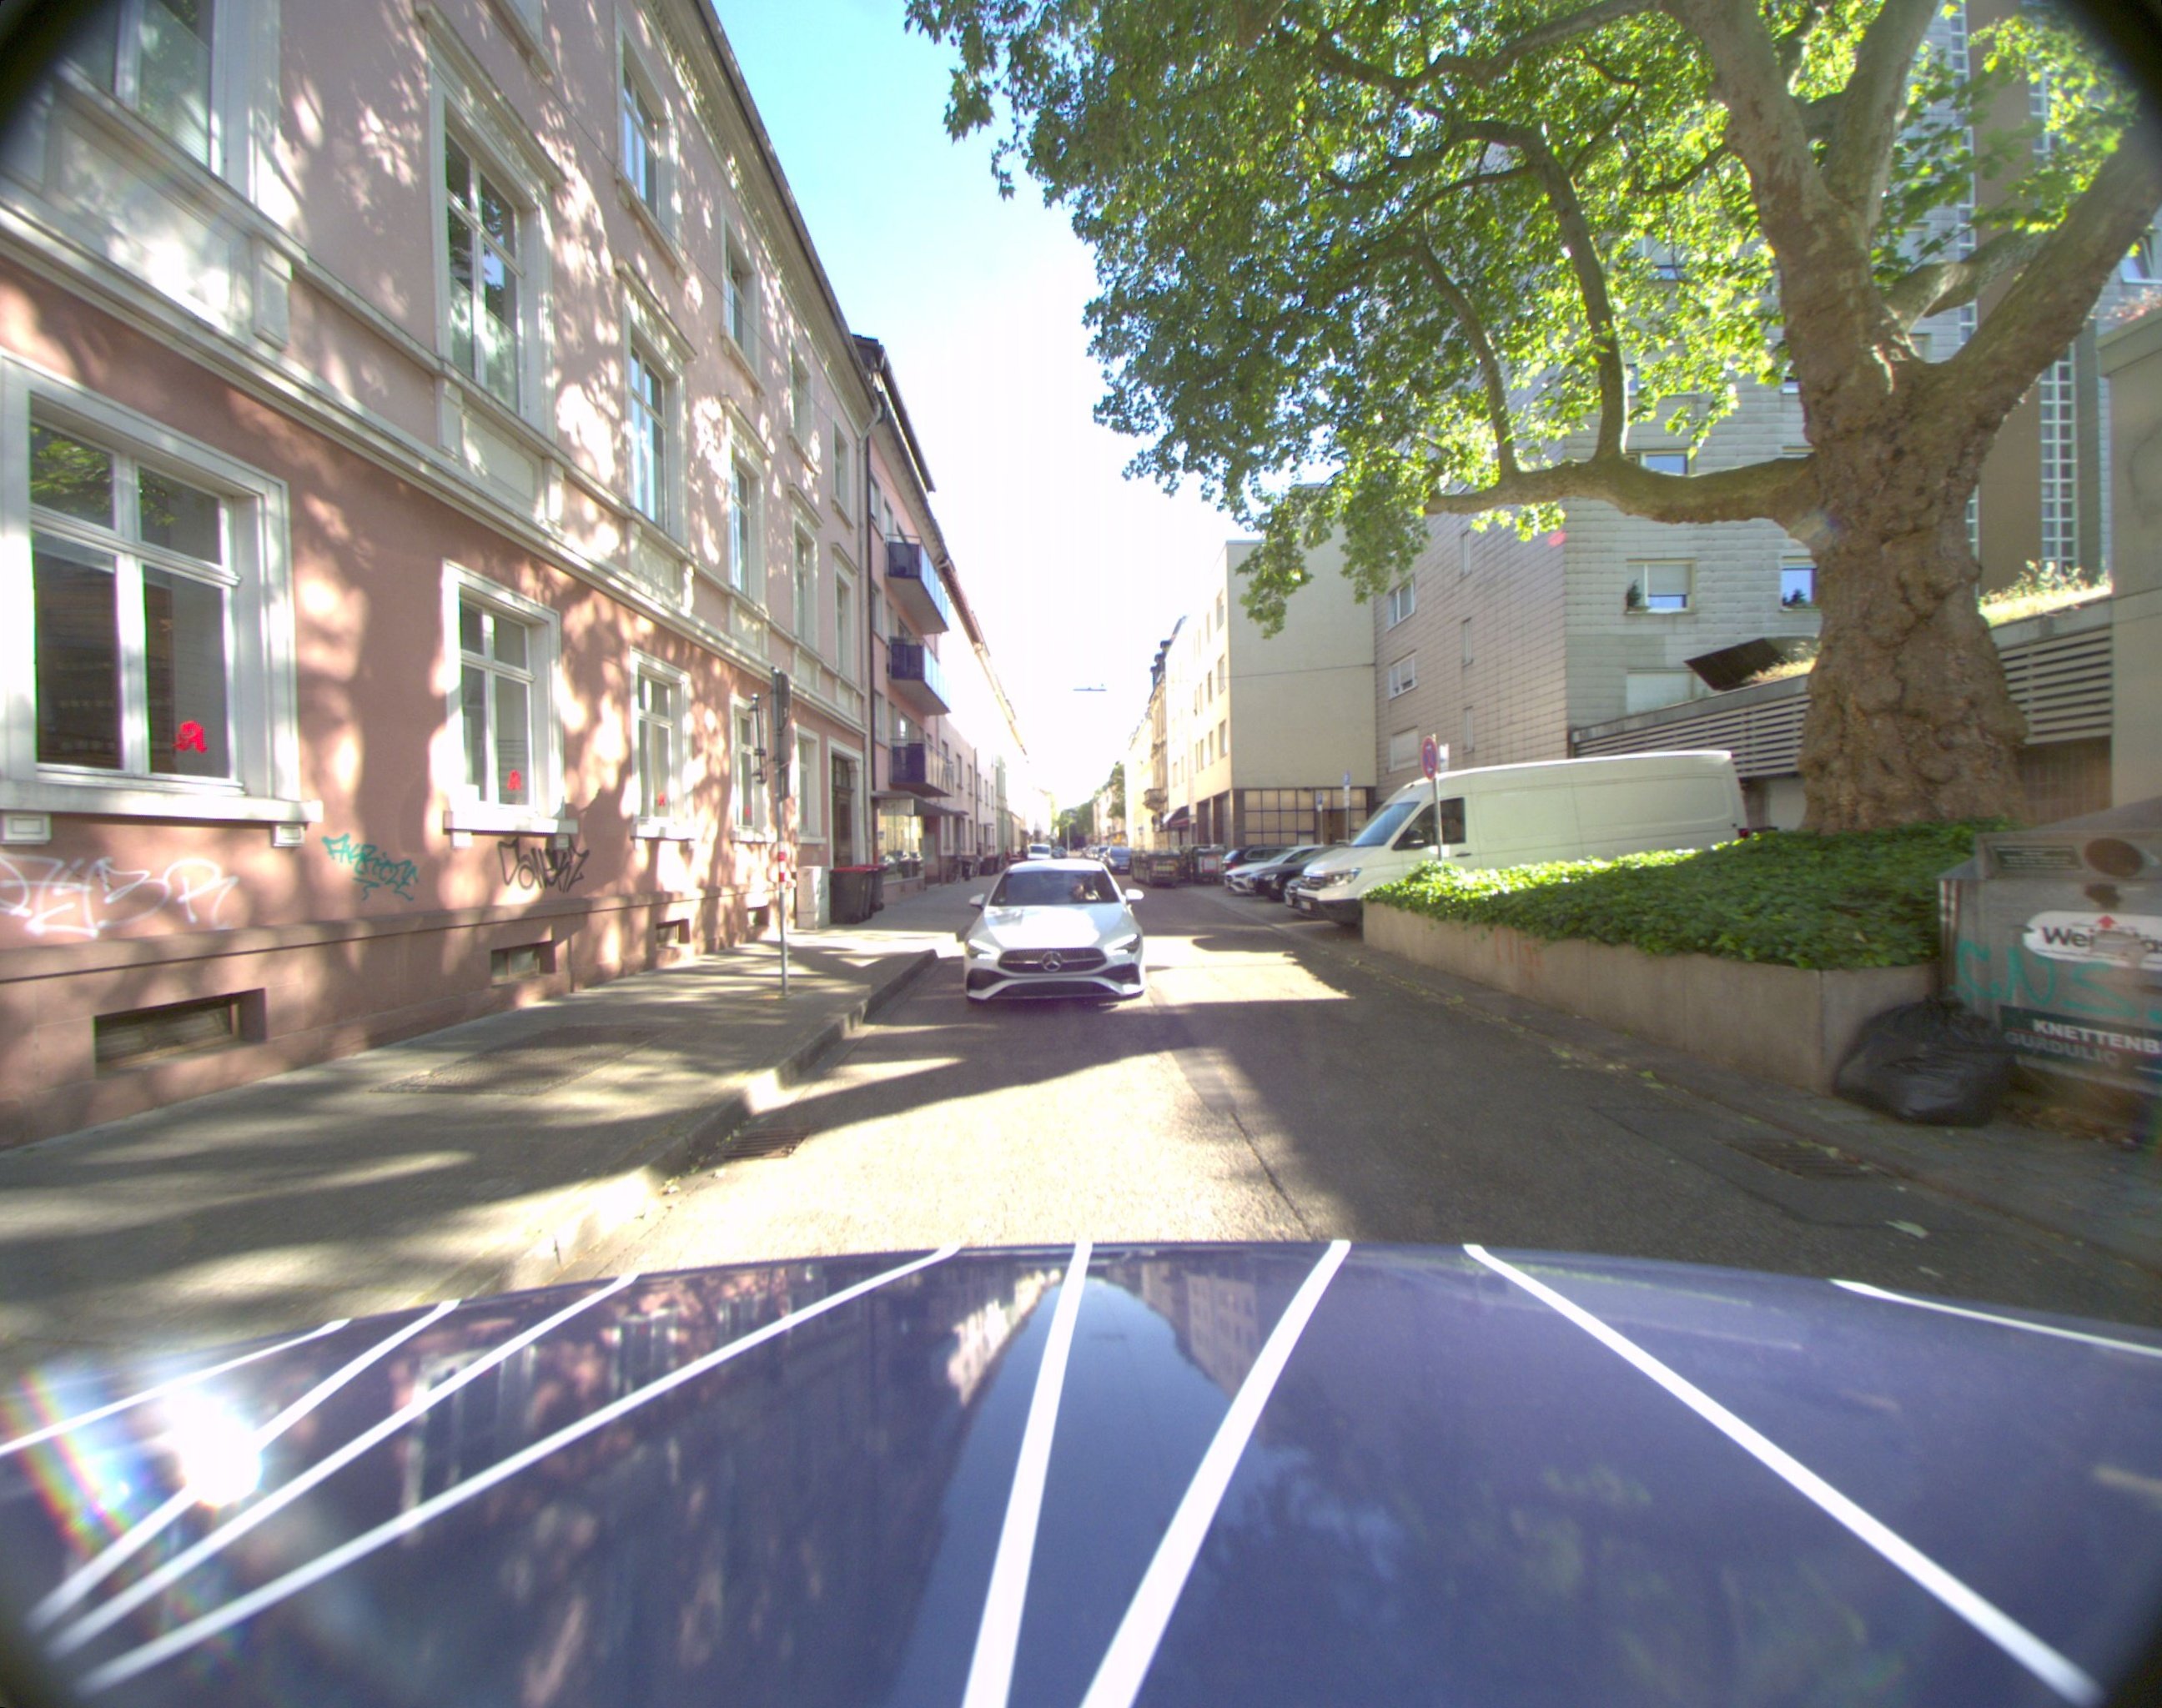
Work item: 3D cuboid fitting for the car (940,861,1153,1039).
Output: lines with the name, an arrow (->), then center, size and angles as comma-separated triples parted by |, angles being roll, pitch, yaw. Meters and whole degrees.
car -> -0.295, 0.885, 9.110 | 1.862, 1.448, 4.562 | -2, 1, 0

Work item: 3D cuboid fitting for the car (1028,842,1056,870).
car -> -2.768, 0.118, 54.732 | 1.765, 1.843, 4.327 | -1, 1, 0

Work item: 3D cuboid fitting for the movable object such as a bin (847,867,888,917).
movable object such as a bin -> -4.777, 0.841, 17.017 | 0.718, 1.078, 0.618 | 2, 1, -2

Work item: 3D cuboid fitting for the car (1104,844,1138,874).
car -> 2.351, 0.261, 45.277 | 1.765, 1.698, 4.327 | -1, 1, 0

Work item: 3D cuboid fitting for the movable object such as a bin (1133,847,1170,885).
movable object such as a bin -> 2.919, 0.487, 31.601 | 1.247, 1.492, 1.924 | -1, 1, -2

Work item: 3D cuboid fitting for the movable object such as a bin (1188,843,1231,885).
movable object such as a bin -> 4.809, 0.359, 28.526 | 1.328, 1.492, 1.194 | -1, 1, -2

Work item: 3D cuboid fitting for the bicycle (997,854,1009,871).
bicycle -> -4.999, 0.534, 48.737 | 0.490, 1.090, 1.932 | -1, 1, 0

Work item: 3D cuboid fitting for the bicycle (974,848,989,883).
bicycle -> -5.045, 0.570, 38.606 | 0.402, 1.726, 2.106 | -1, 1, 0

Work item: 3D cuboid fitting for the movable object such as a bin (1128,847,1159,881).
movable object such as a bin -> 2.866, 0.450, 34.986 | 1.222, 1.492, 1.559 | -1, 1, -2

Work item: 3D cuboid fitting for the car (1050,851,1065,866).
car -> -2.831, 0.541, 93.071 | 1.765, 1.698, 4.327 | -1, 0, -1

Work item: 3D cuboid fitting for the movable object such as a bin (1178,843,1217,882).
movable object such as a bin -> 4.563, 0.327, 29.915 | 1.222, 1.492, 1.517 | -1, 1, -2

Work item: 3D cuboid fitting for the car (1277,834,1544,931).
car -> 6.279, 0.512, 14.811 | 4.415, 1.525, 1.698 | -3, 1, -1

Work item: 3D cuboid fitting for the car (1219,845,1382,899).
car -> 6.554, 0.502, 22.889 | 4.417, 1.454, 1.599 | -1, 0, -6

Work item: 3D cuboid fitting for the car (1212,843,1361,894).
car -> 6.733, 0.444, 25.151 | 4.417, 1.524, 1.698 | -1, 0, -6

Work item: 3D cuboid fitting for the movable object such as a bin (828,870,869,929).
movable object such as a bin -> -4.426, 0.861, 14.518 | 0.570, 1.078, 0.654 | 2, 1, -2

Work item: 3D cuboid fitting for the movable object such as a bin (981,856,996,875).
movable object such as a bin -> -4.990, 0.632, 41.092 | 0.717, 0.996, 0.546 | 2, 1, -2

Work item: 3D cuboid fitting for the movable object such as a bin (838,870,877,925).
movable object such as a bin -> -4.446, 0.858, 15.134 | 0.570, 1.052, 0.611 | 2, 1, -2

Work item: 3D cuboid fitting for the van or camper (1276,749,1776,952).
van or camper -> 7.018, -0.056, 12.538 | 6.922, 2.559, 2.000 | -4, 0, 0

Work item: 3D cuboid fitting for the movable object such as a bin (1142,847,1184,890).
movable object such as a bin -> 3.118, 0.523, 29.112 | 1.241, 1.492, 1.876 | -5, 1, -2

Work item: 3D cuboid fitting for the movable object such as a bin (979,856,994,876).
movable object such as a bin -> -5.022, 0.636, 40.463 | 0.717, 0.996, 0.546 | 2, 1, -2

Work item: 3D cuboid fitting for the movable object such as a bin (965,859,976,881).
movable object such as a bin -> -4.882, 0.717, 33.493 | 0.416, 0.935, 0.302 | 2, 1, -2

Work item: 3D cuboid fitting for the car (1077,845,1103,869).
car -> 0.656, 0.182, 56.449 | 1.765, 1.698, 4.327 | -1, 0, 0

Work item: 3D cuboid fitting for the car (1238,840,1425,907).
car -> 6.620, 0.479, 20.295 | 4.417, 1.607, 1.698 | -1, 1, -6

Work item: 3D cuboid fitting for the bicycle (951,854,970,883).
bicycle -> -4.886, 0.566, 30.832 | 0.402, 1.144, 2.024 | -1, 1, 0

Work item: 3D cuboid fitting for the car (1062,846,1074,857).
car -> -1.962, -0.364, 118.406 | 1.765, 1.698, 4.327 | -1, 0, -1

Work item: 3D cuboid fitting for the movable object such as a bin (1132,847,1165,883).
movable object such as a bin -> 2.952, 0.465, 33.396 | 1.222, 1.492, 1.559 | -1, 1, -2

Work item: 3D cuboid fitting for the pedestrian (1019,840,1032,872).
pedestrian -> -3.544, 0.119, 48.611 | 0.761, 2.002, 0.771 | -1, 1, 0
